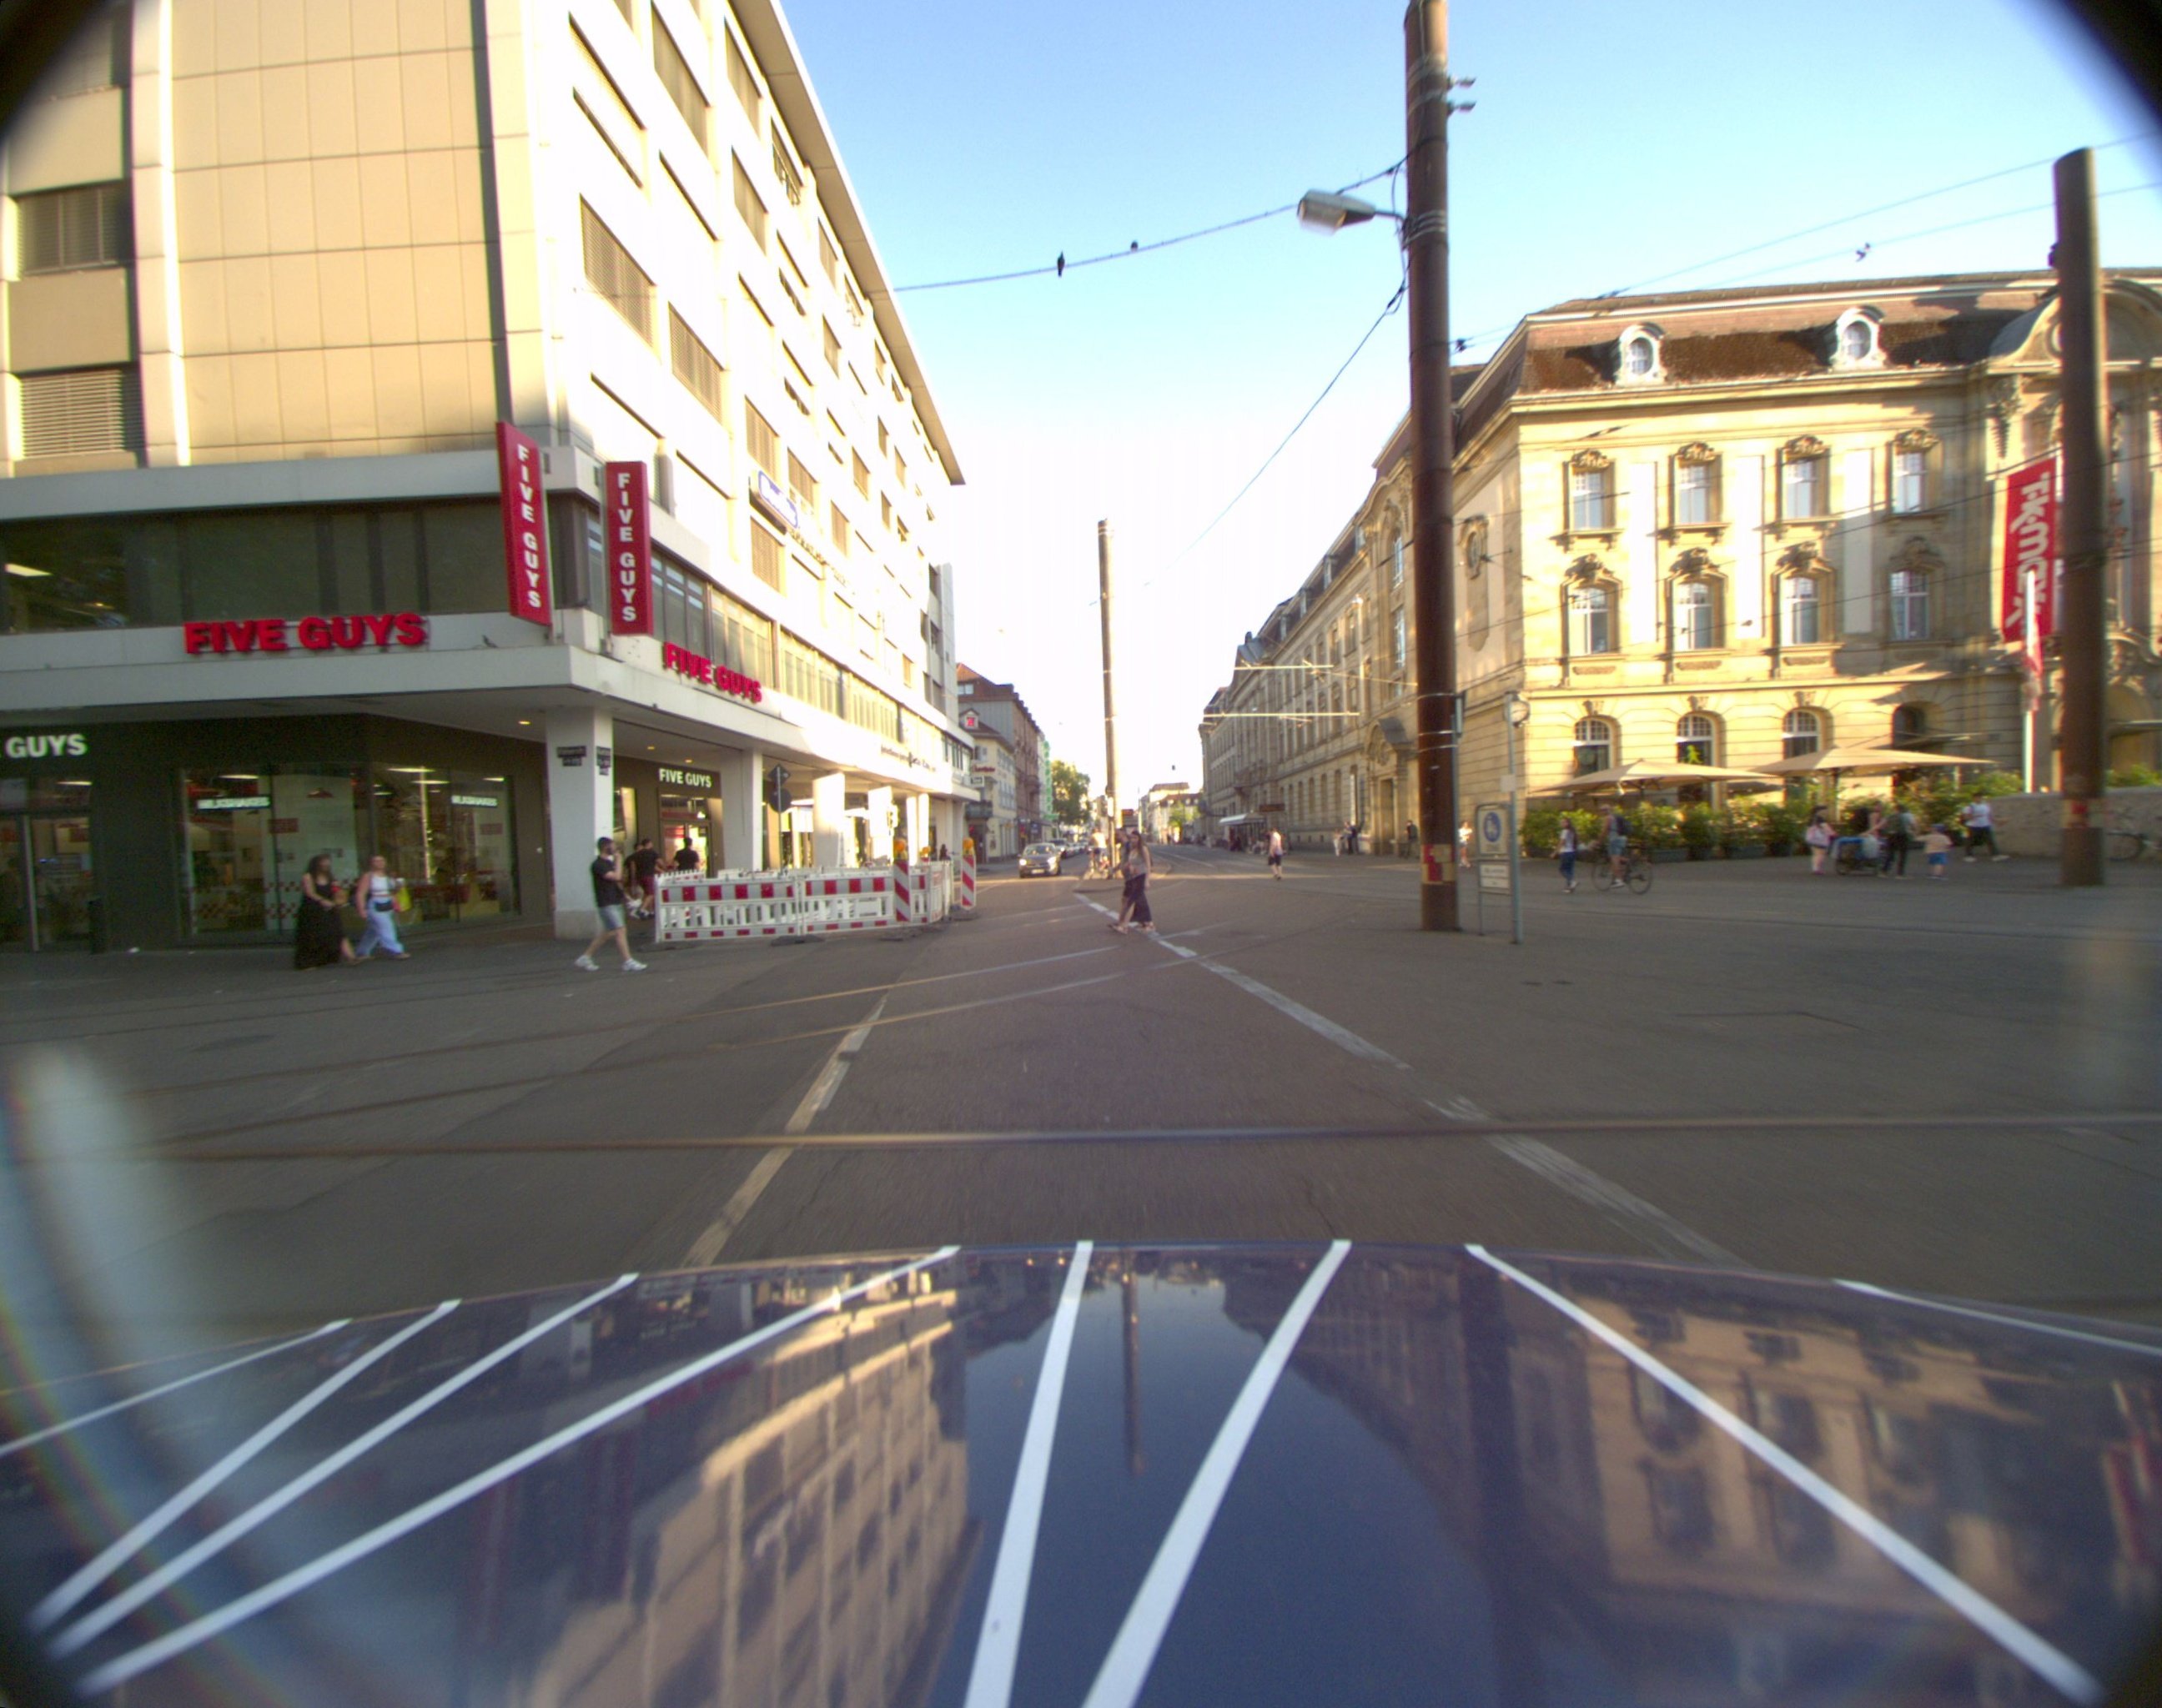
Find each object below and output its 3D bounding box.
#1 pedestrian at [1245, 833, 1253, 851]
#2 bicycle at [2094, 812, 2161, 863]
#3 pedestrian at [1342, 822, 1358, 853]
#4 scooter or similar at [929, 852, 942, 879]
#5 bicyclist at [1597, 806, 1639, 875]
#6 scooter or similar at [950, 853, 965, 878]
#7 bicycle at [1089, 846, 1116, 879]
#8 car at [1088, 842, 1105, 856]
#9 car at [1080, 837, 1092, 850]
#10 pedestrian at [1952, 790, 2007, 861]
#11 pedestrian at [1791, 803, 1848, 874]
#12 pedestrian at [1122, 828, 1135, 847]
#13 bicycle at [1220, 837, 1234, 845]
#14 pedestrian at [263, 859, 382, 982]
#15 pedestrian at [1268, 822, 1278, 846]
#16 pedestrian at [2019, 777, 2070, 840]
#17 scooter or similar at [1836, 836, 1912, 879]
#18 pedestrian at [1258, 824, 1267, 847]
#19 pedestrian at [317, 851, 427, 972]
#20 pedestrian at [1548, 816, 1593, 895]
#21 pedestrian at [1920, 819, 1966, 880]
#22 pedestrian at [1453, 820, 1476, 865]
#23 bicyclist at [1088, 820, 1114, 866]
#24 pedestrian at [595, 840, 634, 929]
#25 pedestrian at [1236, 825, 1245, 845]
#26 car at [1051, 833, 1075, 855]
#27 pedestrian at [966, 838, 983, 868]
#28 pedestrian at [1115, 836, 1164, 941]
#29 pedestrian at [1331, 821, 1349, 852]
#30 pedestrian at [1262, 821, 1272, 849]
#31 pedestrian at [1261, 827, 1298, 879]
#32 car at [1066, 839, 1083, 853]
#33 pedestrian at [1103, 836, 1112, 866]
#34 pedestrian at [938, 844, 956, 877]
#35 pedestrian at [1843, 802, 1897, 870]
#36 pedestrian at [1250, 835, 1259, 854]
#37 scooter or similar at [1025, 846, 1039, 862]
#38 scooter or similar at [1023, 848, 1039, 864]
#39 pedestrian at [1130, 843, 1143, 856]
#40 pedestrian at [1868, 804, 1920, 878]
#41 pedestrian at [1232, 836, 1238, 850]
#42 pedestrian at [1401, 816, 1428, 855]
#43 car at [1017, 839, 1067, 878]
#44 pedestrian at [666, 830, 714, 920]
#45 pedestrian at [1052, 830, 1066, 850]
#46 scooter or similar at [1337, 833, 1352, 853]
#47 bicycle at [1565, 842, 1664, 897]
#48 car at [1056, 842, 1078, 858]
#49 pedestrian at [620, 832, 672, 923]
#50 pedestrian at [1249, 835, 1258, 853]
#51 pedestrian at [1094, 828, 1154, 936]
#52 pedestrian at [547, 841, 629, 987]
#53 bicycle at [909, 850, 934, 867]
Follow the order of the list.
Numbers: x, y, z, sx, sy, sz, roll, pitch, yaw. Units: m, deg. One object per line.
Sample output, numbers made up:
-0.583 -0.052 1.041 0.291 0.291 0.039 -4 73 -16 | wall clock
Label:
13.096 -0.929 59.294 0.519 1.320 0.638 -3 2 6 | pedestrian
23.610 -0.378 16.773 0.450 1.079 1.581 -4 2 5 | bicycle
15.392 -0.941 43.509 0.622 1.766 0.706 -3 1 -1 | pedestrian
-8.237 0.622 43.033 0.314 1.480 1.315 -2 2 3 | scooter or similar
11.466 -0.284 16.219 0.422 1.419 0.563 -4 2 -5 | bicyclist
-6.376 0.581 39.189 0.506 1.227 1.179 -2 2 2 | scooter or similar
0.755 0.296 26.964 0.630 1.097 1.623 -2 2 -10 | bicycle
1.812 -0.650 90.240 1.810 1.475 4.283 -5 1 2 | car
0.873 -1.792 129.459 1.856 2.055 5.215 -2 1 3 | car
22.304 -0.704 18.870 0.499 1.696 0.719 -4 2 -15 | pedestrian
17.528 -0.368 18.040 0.824 1.605 0.692 -3 2 -23 | pedestrian
4.143 -1.458 66.606 0.686 1.628 0.862 -2 2 43 | pedestrian
17.680 -1.576 91.913 1.578 0.869 0.451 -4 2 7 | bicycle
-10.779 0.922 10.823 0.826 1.621 0.713 -4 2 2 | pedestrian
13.299 -1.364 52.534 0.519 1.636 0.638 -3 2 6 | pedestrian
26.824 -1.251 21.160 0.498 1.696 0.720 -4 2 -3 | pedestrian
18.083 0.072 17.341 1.098 0.899 0.888 -3 1 -25 | scooter or similar
12.667 -1.302 53.089 0.519 1.561 0.638 -3 2 6 | pedestrian
-10.782 0.847 11.587 0.790 1.725 0.772 -4 2 2 | pedestrian
10.612 0.031 16.487 0.649 1.665 0.530 -2 2 11 | pedestrian
18.025 -0.094 15.895 0.484 1.236 0.412 -2 2 18 | pedestrian
13.199 -0.397 26.148 0.528 1.516 0.501 -4 2 -43 | pedestrian
0.691 -0.384 26.946 0.611 1.584 0.790 -3 2 -20 | bicyclist
-10.858 0.695 17.677 0.705 2.002 0.472 -2 3 44 | pedestrian
12.939 -1.535 61.501 0.518 1.641 0.639 -2 3 25 | pedestrian
-1.675 -0.978 71.781 1.881 1.912 4.699 -5 1 2 | car
-6.648 -0.093 47.254 0.700 1.805 0.852 -3 2 9 | pedestrian
0.924 0.529 11.966 0.571 1.584 0.447 -3 2 -19 | pedestrian
13.785 -0.923 40.453 0.701 1.605 0.630 -4 2 1 | pedestrian
12.009 -1.243 49.100 0.468 1.766 0.562 -2 2 25 | pedestrian
6.438 -0.022 24.659 0.804 1.619 0.834 -3 2 -14 | pedestrian
-0.765 -1.049 92.532 1.736 1.502 4.864 -5 1 2 | car
1.460 -0.183 42.074 0.357 1.633 0.502 -4 2 1 | pedestrian
-7.113 0.342 40.294 0.702 1.683 0.540 -5 2 -34 | pedestrian
19.112 -0.432 18.413 0.773 1.605 0.666 -3 2 -23 | pedestrian
12.598 -0.702 55.181 0.519 1.320 0.638 -3 2 6 | pedestrian
-3.931 0.001 60.562 1.049 1.227 0.271 -2 2 -29 | scooter or similar
-3.935 0.182 59.870 1.177 1.227 0.316 -1 2 19 | scooter or similar
4.466 -0.364 61.575 0.799 0.934 0.694 -2 2 25 | pedestrian
17.616 -0.274 16.479 0.649 1.564 0.481 -2 2 29 | pedestrian
13.168 -0.914 64.887 0.365 1.193 0.430 -3 2 9 | pedestrian
14.265 -0.800 32.540 0.690 1.619 0.972 -3 1 1 | pedestrian
-1.666 0.154 33.932 1.738 1.495 4.000 -4 1 3 | car
-8.939 0.469 17.379 0.706 2.002 0.471 -3 2 16 | pedestrian
-1.904 -1.230 66.014 0.970 1.619 0.691 -3 2 14 | pedestrian
16.276 -0.665 46.943 0.488 1.175 1.293 -4 2 5 | scooter or similar
11.487 0.297 16.449 0.574 1.092 2.021 -4 2 -4 | bicycle
-1.381 -0.446 77.934 1.810 1.475 4.778 -5 1 2 | car
-9.914 0.538 17.313 0.779 2.002 0.518 -3 2 24 | pedestrian
12.710 -0.731 56.047 0.519 1.320 0.638 -3 2 6 | pedestrian
0.694 0.440 12.476 0.747 1.690 0.609 -3 2 -19 | pedestrian
-6.367 0.746 9.857 0.724 1.759 0.669 -5 2 -30 | pedestrian
-12.407 0.371 59.272 0.770 1.175 1.849 -3 2 33 | bicycle
